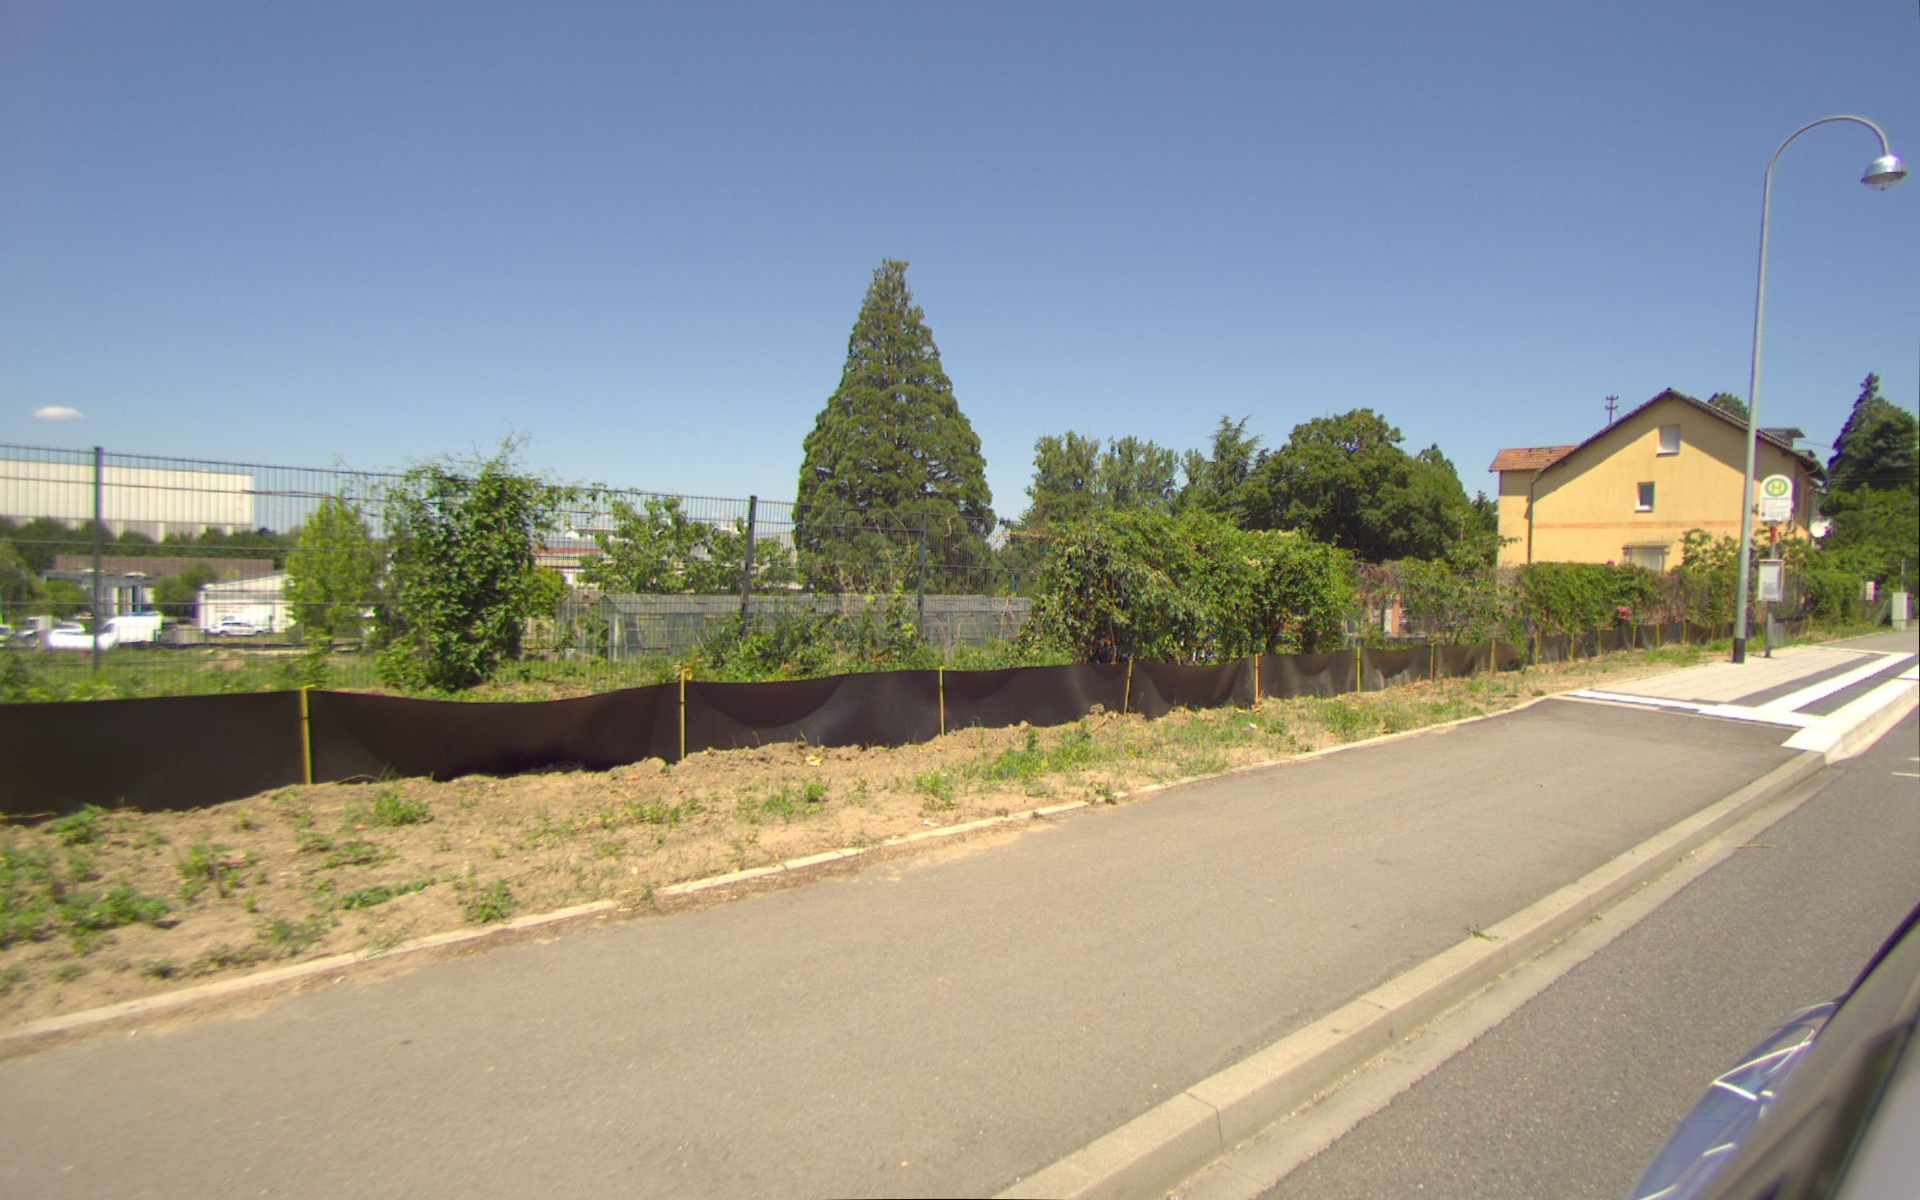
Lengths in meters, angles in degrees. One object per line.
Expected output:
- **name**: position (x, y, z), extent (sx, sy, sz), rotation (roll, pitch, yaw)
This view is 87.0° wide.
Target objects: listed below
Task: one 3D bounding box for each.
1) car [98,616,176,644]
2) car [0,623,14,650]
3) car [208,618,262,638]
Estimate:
- **car**: position (-61.993, 2.227, 76.276), extent (4.254, 2.039, 1.875), rotation (0, 0, -5)
- **car**: position (-68.053, 2.548, 71.130), extent (1.964, 1.761, 3.997), rotation (0, 0, -38)
- **car**: position (-64.407, 2.472, 89.920), extent (3.781, 1.641, 1.934), rotation (0, 0, -41)
